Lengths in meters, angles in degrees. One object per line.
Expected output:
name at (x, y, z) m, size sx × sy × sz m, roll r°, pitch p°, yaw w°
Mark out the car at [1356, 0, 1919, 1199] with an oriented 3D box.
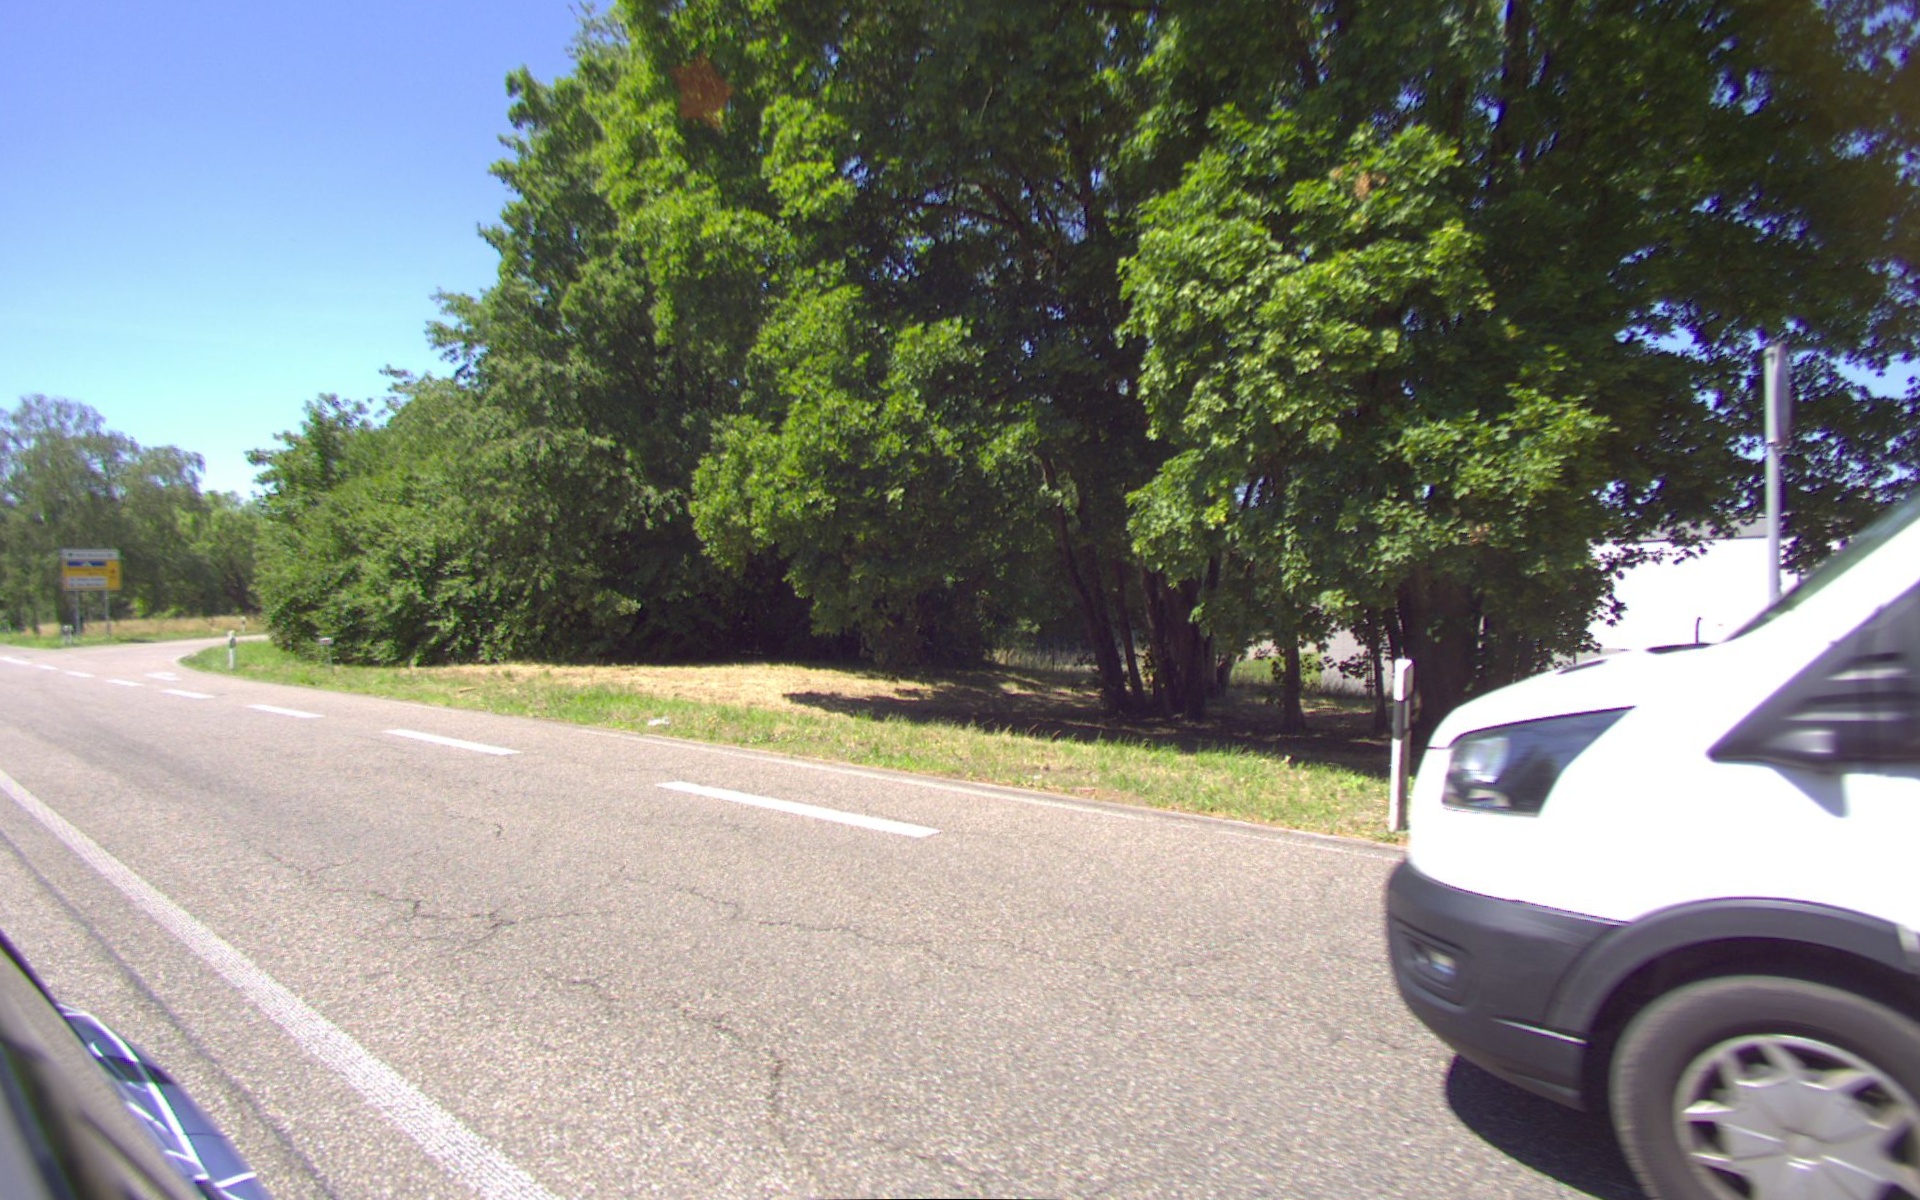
car at (4.214, -0.035, 1.056) m, size 6.781 × 2.647 × 2.051 m, roll -1°, pitch -1°, yaw 42°
